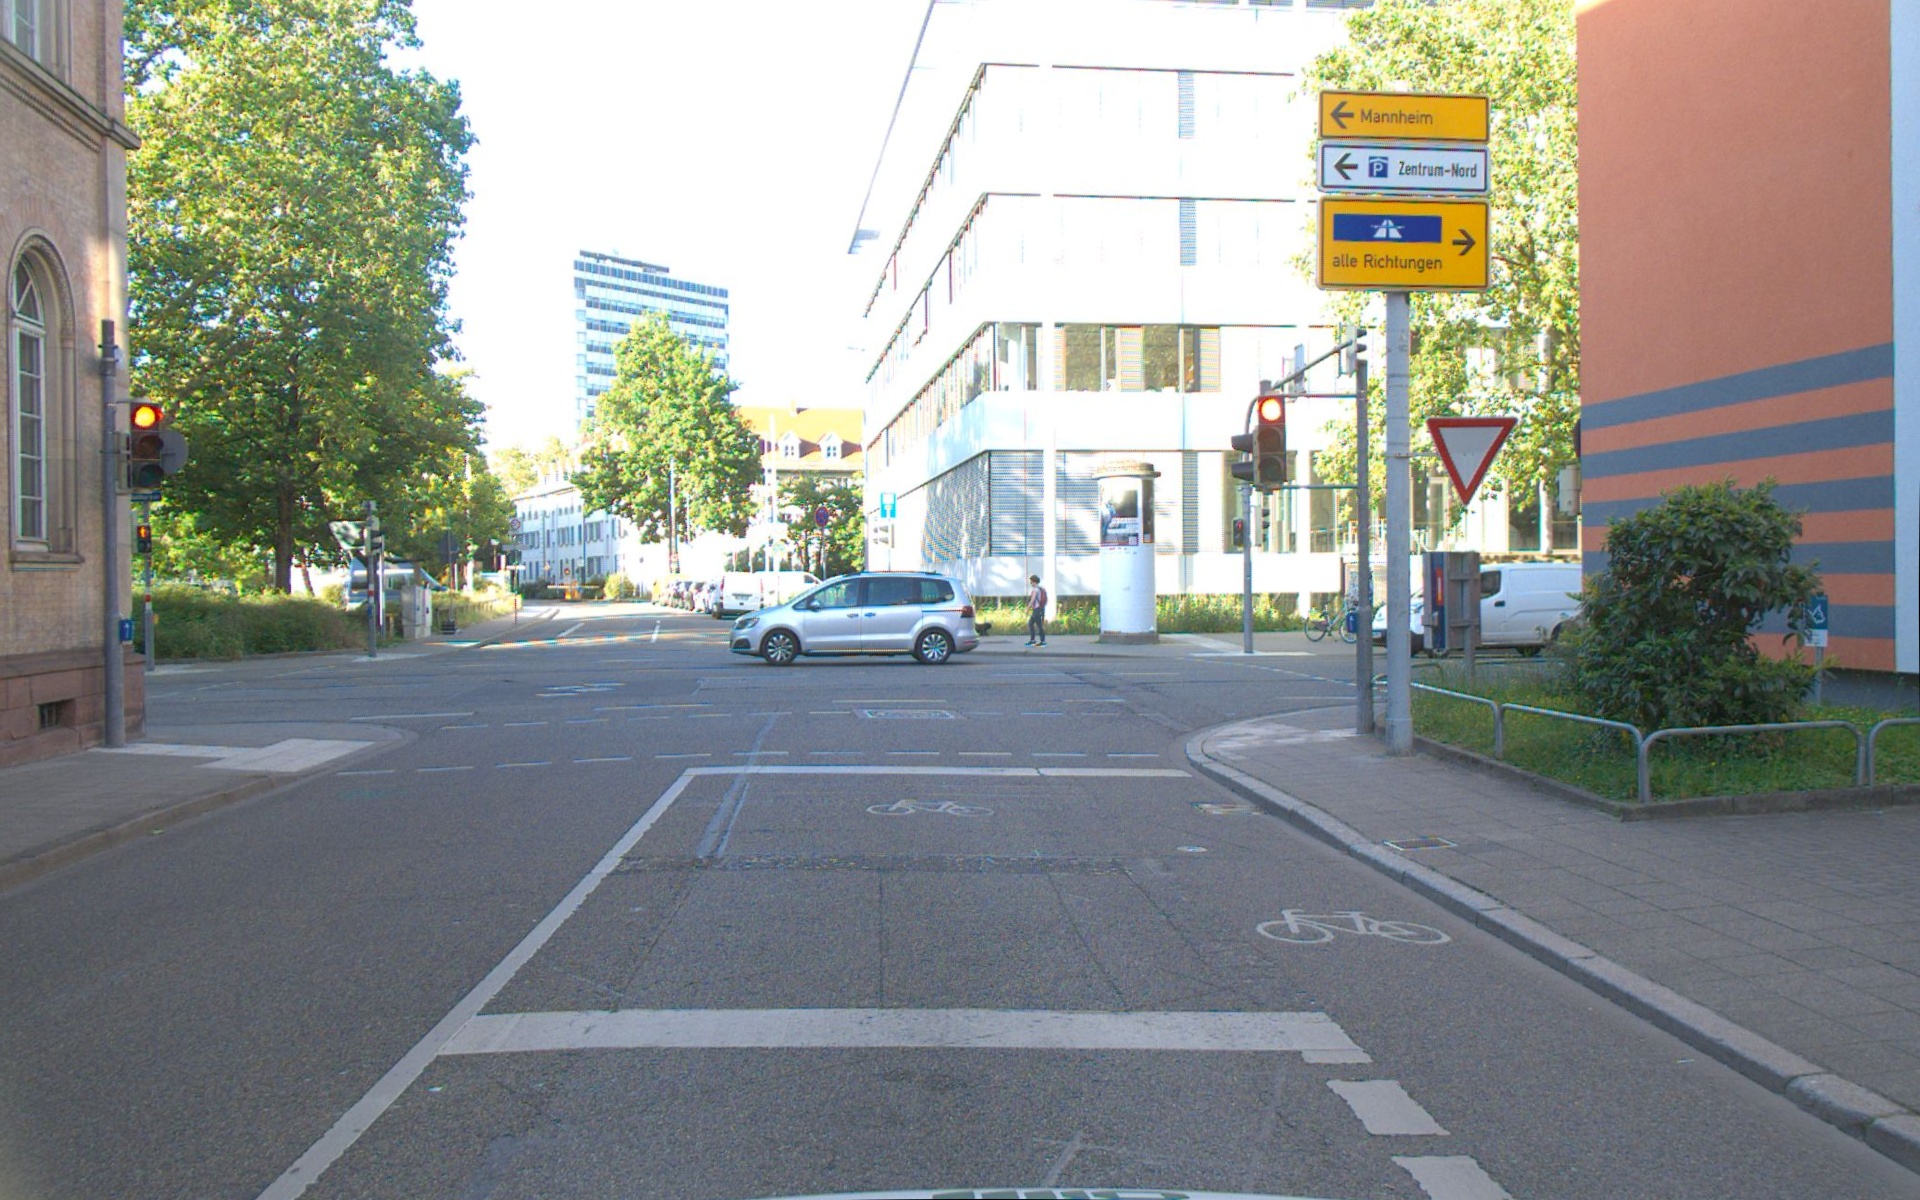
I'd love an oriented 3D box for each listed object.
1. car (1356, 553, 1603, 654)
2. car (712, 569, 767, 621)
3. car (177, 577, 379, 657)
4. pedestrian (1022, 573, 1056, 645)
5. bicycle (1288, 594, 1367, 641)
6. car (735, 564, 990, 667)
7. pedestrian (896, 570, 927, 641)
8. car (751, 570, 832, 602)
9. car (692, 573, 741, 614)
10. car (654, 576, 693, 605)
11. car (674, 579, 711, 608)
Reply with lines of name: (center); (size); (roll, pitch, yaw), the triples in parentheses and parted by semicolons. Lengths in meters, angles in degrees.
car: (10.394, 0.047, 33.195); (4.455, 1.831, 1.634); (-2, 1, -9)
car: (-8.913, -0.212, 66.729); (2.029, 1.997, 4.228); (-1, 1, -10)
car: (-16.416, 0.384, 39.995); (4.147, 1.808, 1.901); (-1, 1, -10)
pedestrian: (1.811, 0.202, 37.836); (0.696, 1.627, 0.618); (-1, 0, 9)
bicycle: (8.597, 0.406, 38.733); (0.460, 1.067, 1.885); (-1, 1, -43)
car: (-1.878, 0.267, 31.353); (4.669, 1.736, 1.797); (-2, 1, -8)
pedestrian: (-1.220, 0.129, 41.790); (0.638, 1.766, 0.813); (-1, 0, 6)
car: (-10.669, -0.874, 104.894); (4.806, 1.905, 1.990); (1, 0, -18)
car: (-11.571, -0.326, 78.519); (1.913, 1.826, 4.223); (-1, 1, -14)
car: (-16.894, -0.571, 97.506); (2.064, 1.686, 4.462); (-1, 1, -12)
car: (-14.218, -0.379, 87.764); (1.674, 1.489, 4.225); (-1, 1, -12)
